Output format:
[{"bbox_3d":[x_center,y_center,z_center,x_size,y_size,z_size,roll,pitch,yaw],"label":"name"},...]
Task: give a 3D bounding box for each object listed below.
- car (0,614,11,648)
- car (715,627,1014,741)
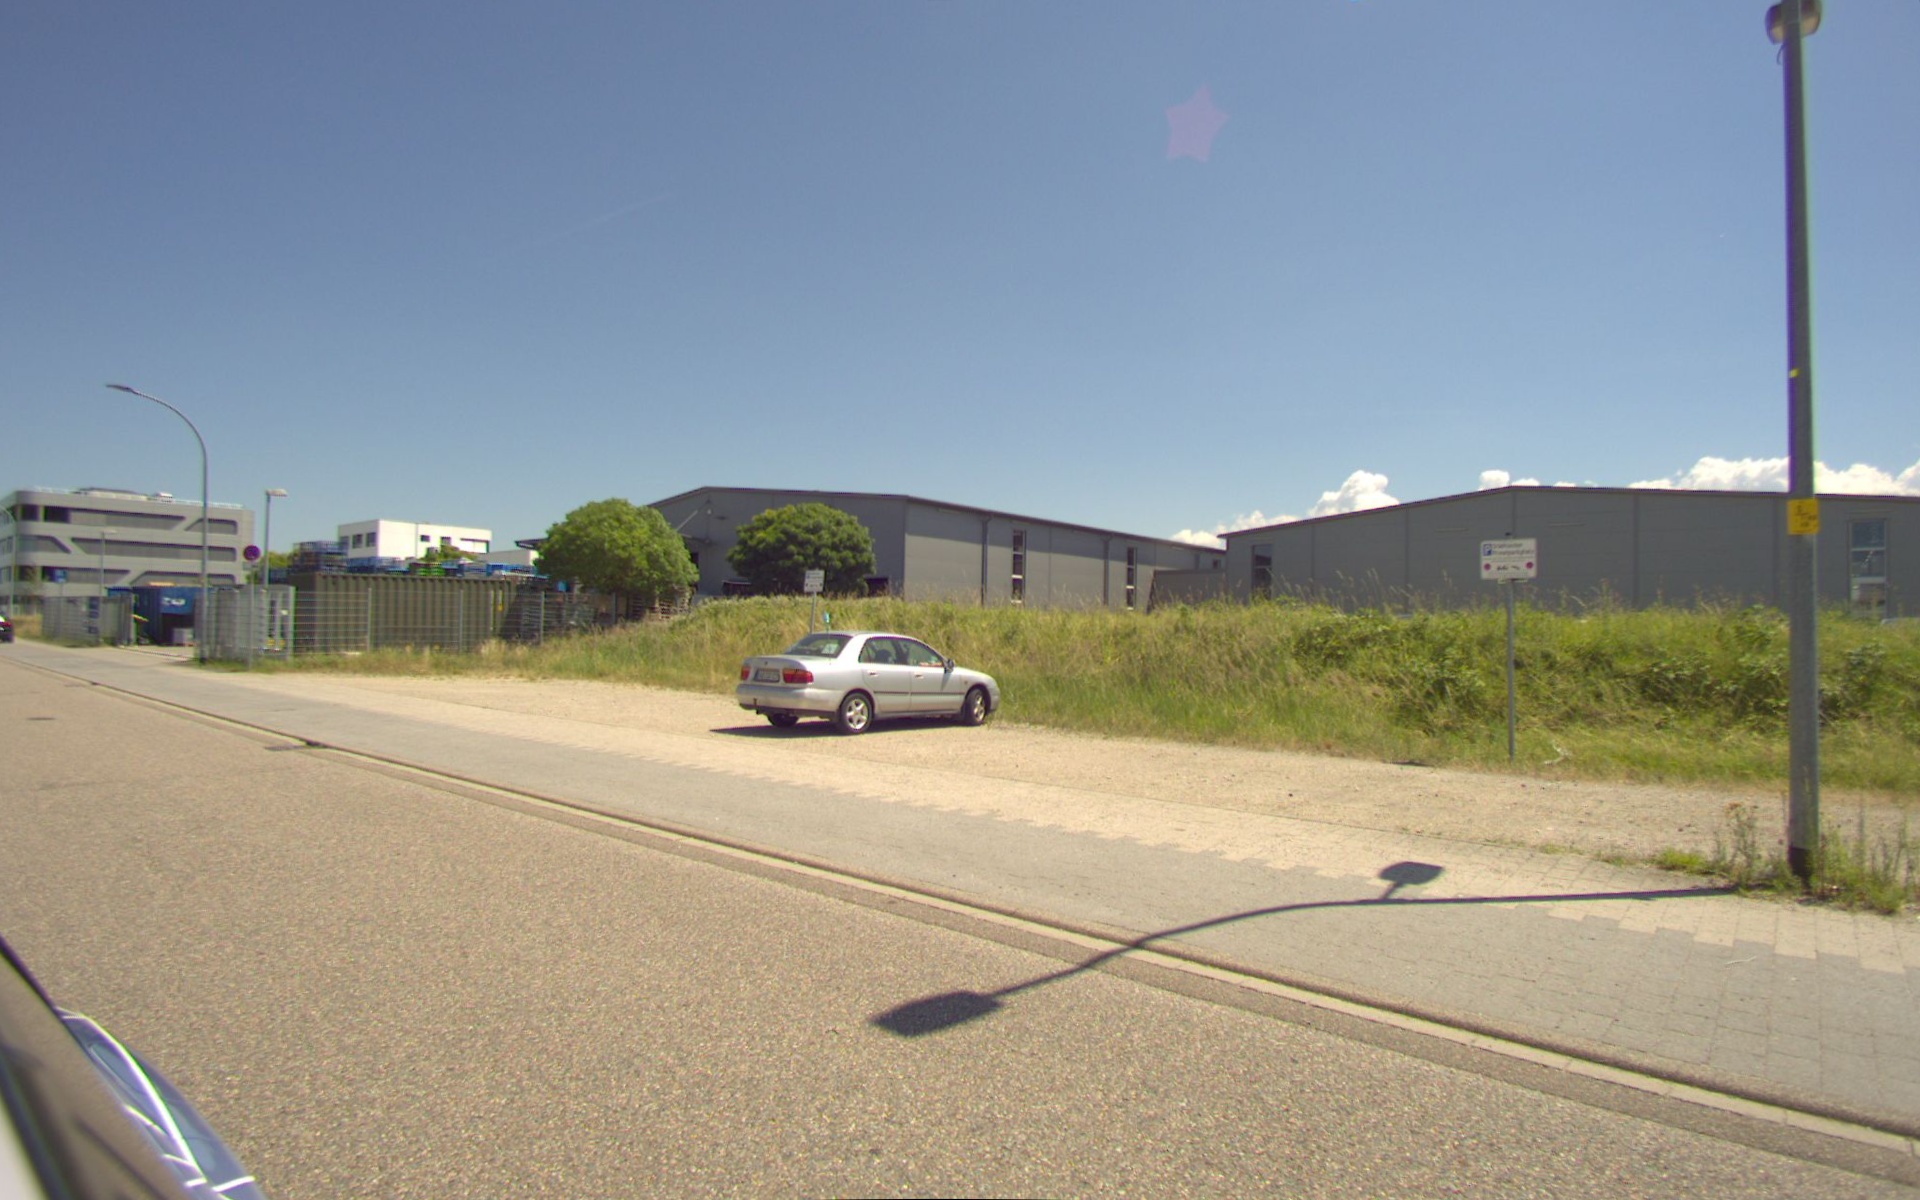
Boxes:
[{"bbox_3d":[-44.374,1.403,45.867,3.659,1.501,1.673,0,0,42],"label":"car"},{"bbox_3d":[-1.259,1.137,14.786,1.862,1.390,4.201,-1,-3,42],"label":"car"}]
